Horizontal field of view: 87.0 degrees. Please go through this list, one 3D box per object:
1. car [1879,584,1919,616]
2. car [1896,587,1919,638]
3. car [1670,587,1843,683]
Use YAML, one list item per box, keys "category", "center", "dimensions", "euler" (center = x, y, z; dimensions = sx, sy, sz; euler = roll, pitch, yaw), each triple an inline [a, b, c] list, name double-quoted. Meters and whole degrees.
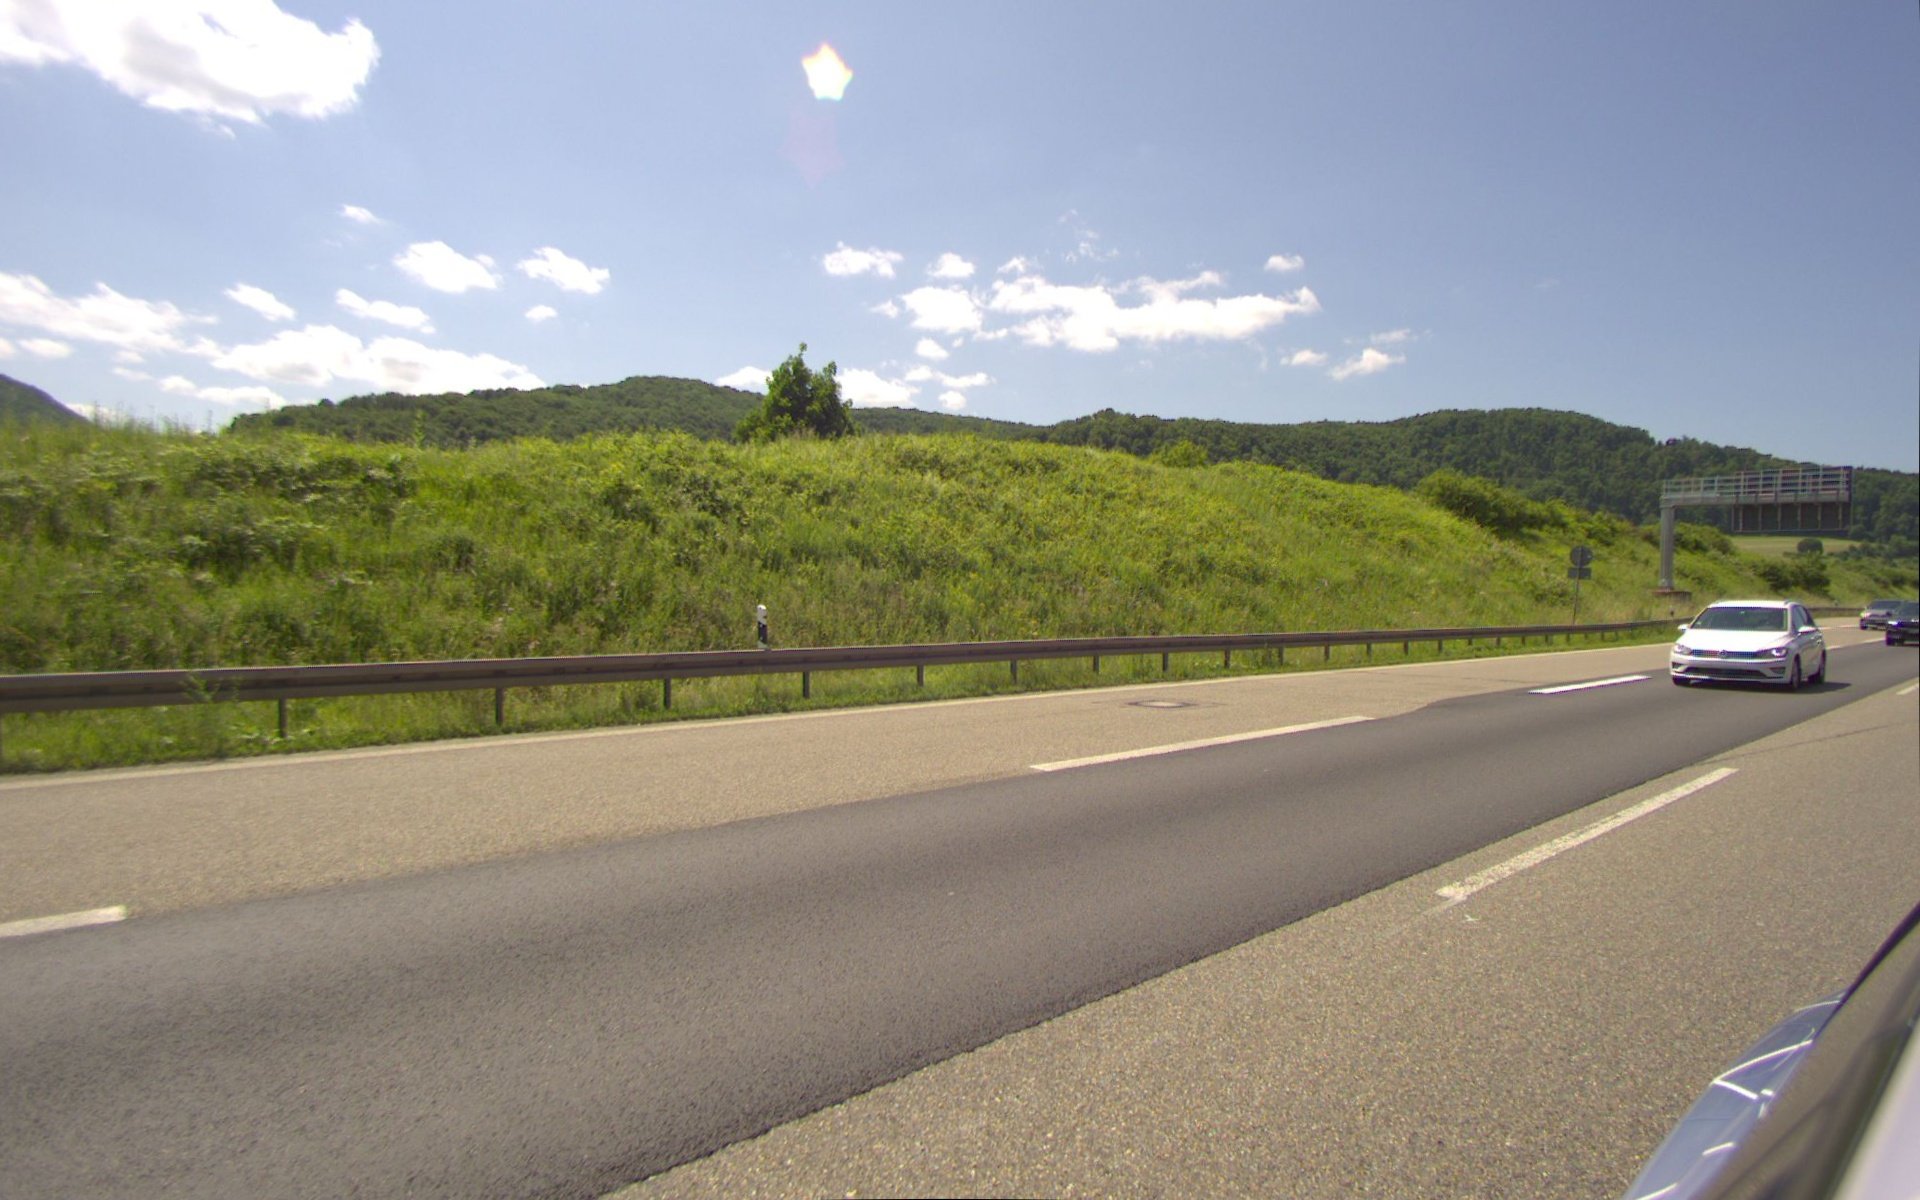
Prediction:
- category: "car"
  center: [49.885, -0.027, 53.637]
  dimensions: [1.679, 1.615, 4.183]
  euler: [0, 0, 43]
- category: "car"
  center: [35.678, 0.453, 36.925]
  dimensions: [4.100, 1.794, 1.891]
  euler: [0, 1, -43]
- category: "car"
  center: [14.609, 0.552, 18.493]
  dimensions: [3.984, 1.560, 1.775]
  euler: [0, 0, -41]
